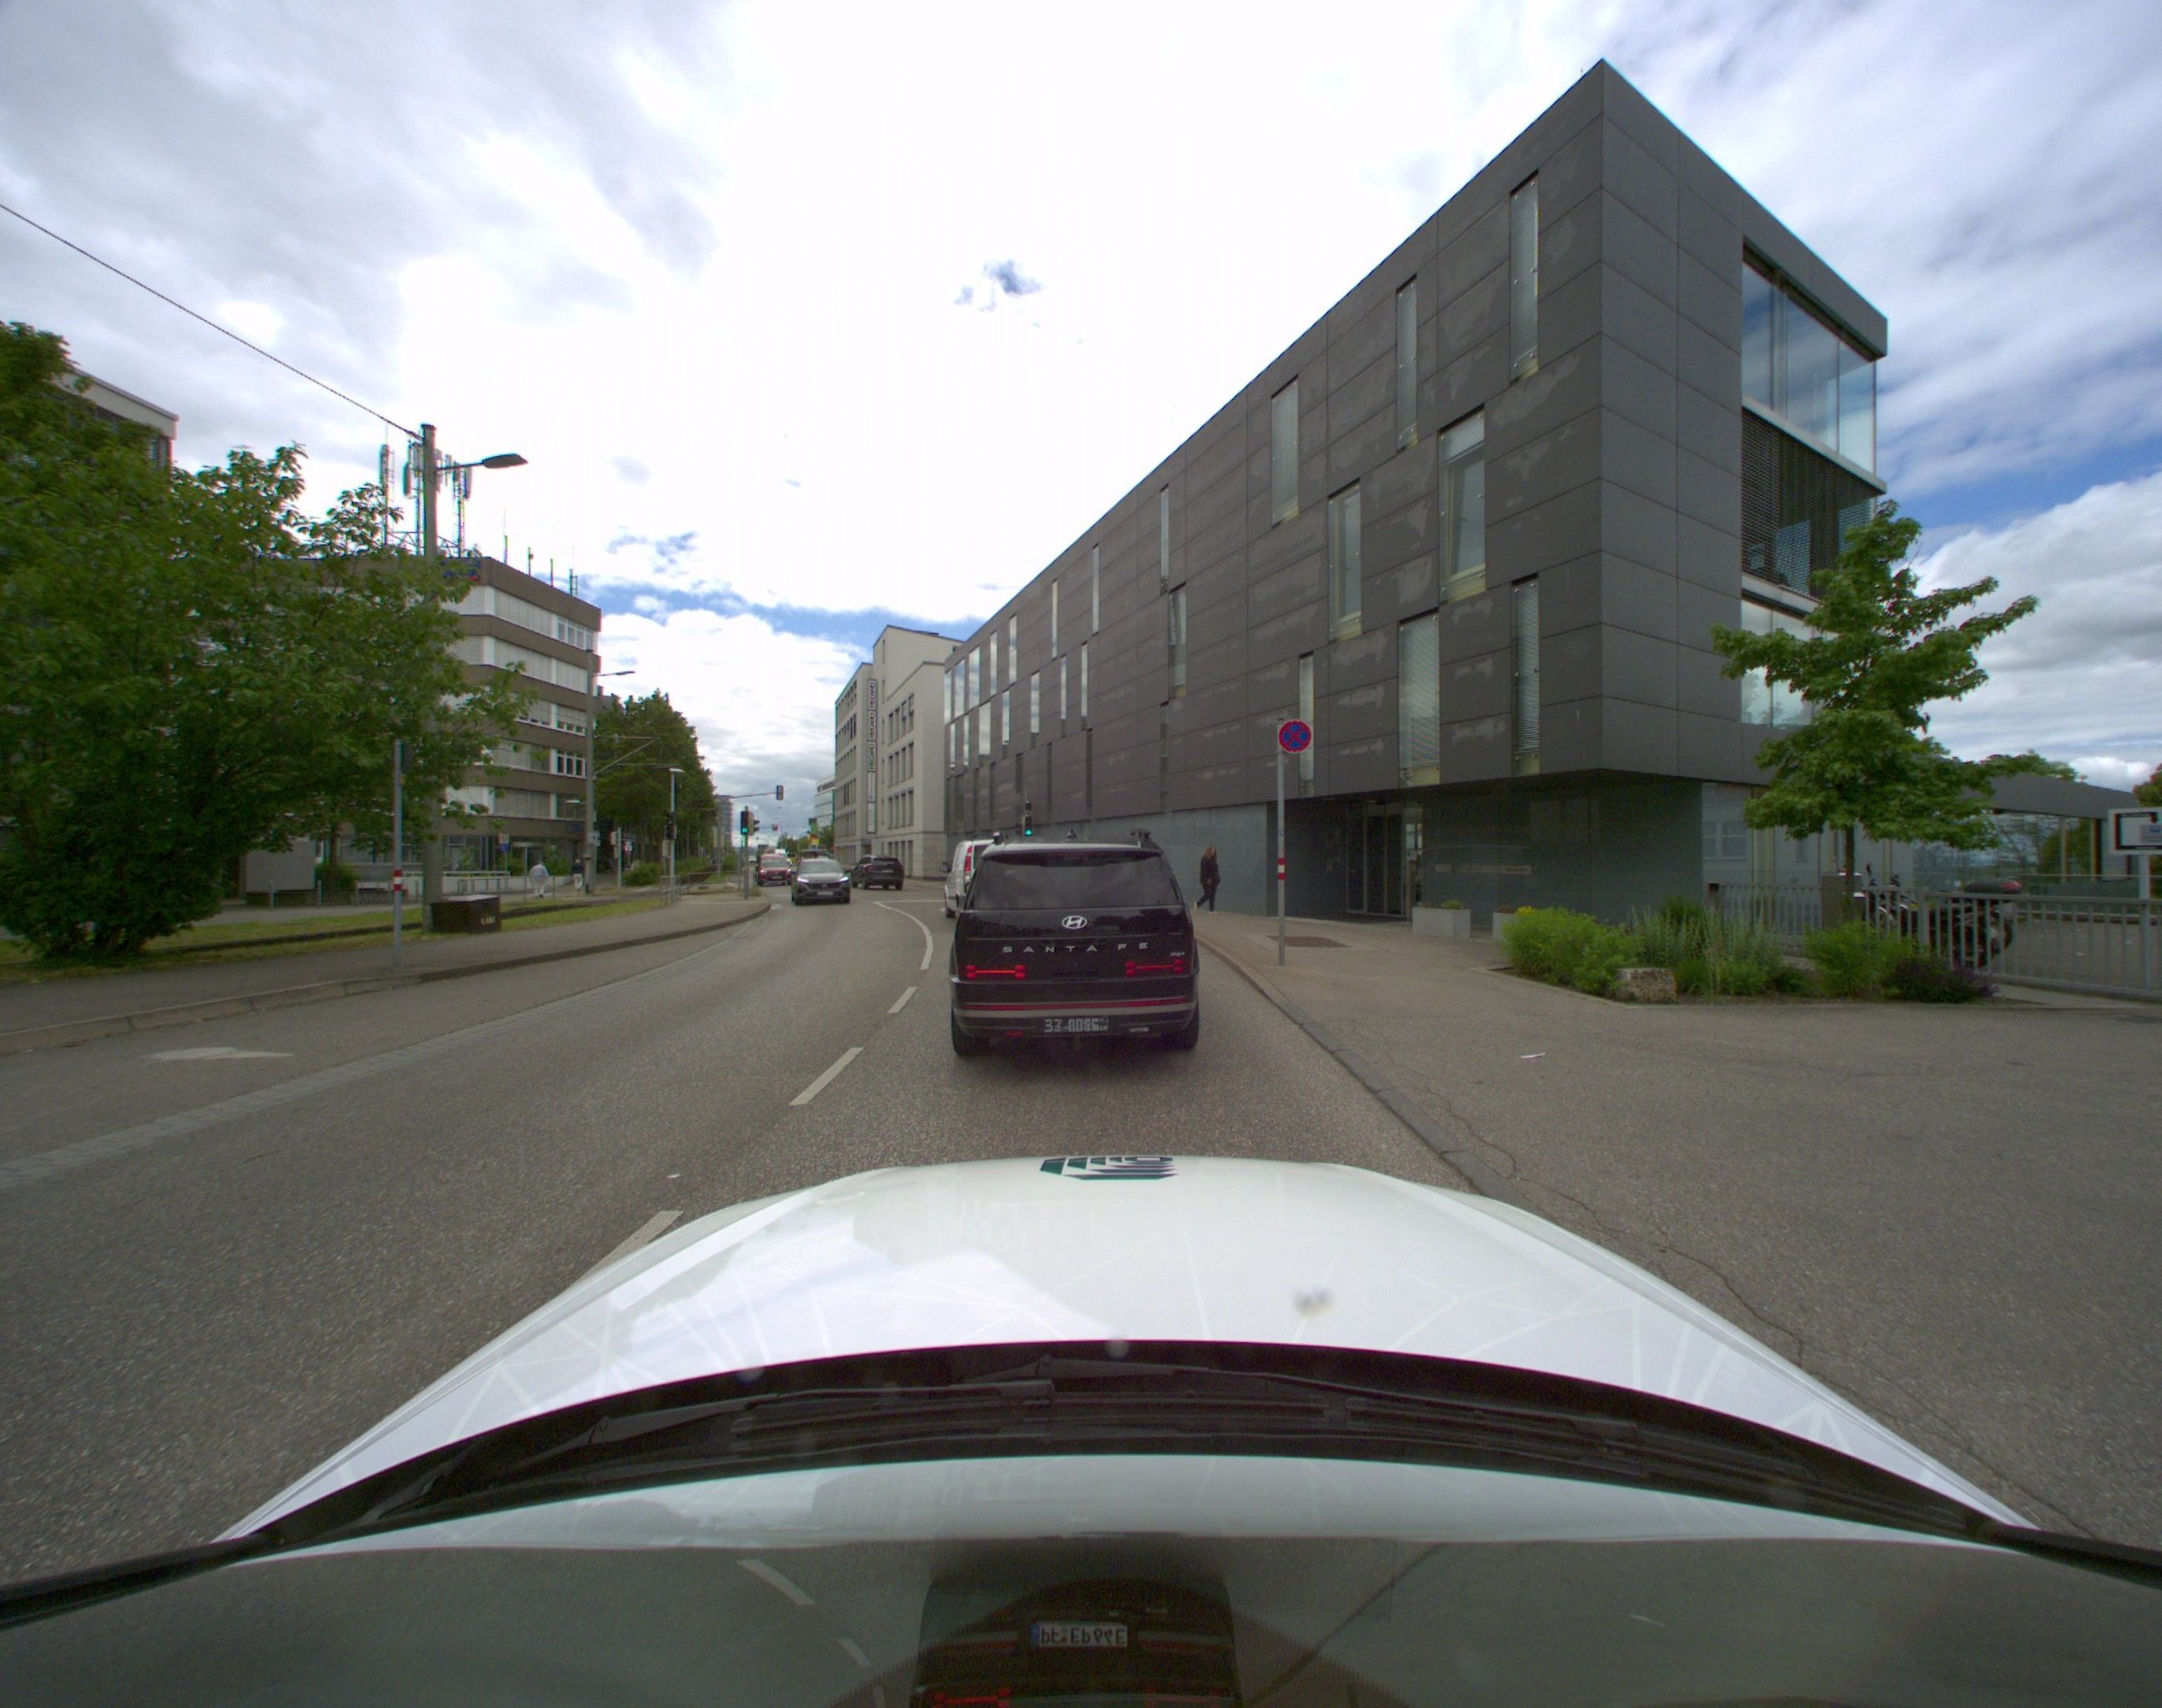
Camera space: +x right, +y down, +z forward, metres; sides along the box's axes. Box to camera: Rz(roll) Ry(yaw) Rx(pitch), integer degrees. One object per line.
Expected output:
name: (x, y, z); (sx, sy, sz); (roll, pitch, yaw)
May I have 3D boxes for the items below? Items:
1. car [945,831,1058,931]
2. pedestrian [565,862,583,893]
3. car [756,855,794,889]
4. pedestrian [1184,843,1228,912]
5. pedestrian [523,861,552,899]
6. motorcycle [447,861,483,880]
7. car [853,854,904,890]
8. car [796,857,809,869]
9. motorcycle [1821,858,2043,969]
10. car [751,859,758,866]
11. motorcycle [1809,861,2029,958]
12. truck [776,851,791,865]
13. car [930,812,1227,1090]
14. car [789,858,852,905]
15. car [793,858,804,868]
car: (-1.944, 0.538, 18.532); (1.934, 1.994, 4.513); (0, 0, -14)
pedestrian: (-27.915, 1.293, 44.885); (0.690, 1.705, 0.678); (-2, 0, -21)
car: (-17.419, 1.007, 46.316); (1.689, 1.808, 4.316); (-2, 0, -24)
pedestrian: (3.126, 0.577, 20.396); (0.854, 1.694, 0.718); (0, -1, 32)
pedestrian: (-23.046, 1.095, 34.539); (0.852, 1.526, 0.988); (-2, 0, -25)
motorcycle: (-39.939, 1.077, 52.843); (1.874, 1.199, 0.568); (-1, 0, -2)
car: (-9.821, 0.834, 39.330); (1.767, 1.609, 4.155); (0, 0, -23)
car: (-41.105, 1.303, 120.043); (1.765, 1.609, 4.159); (0, 0, -20)
motorcycle: (12.007, 0.777, 11.611); (0.669, 1.393, 2.112); (0, 1, -17)
car: (-82.411, 2.187, 205.638); (1.673, 1.882, 3.970); (0, 0, -22)
motorcycle: (13.422, 0.824, 13.186); (0.669, 1.393, 2.449); (0, 0, -17)
truck: (-54.299, 0.716, 148.684); (2.175, 2.615, 5.750); (0, 0, -24)
car: (-0.152, 0.619, 7.476); (1.905, 1.749, 4.390); (-1, 0, -4)
car: (-9.225, 0.918, 28.634); (1.775, 1.479, 3.970); (-2, 0, -22)
car: (-47.480, 1.472, 136.793); (1.765, 1.609, 4.159); (0, 0, -20)
